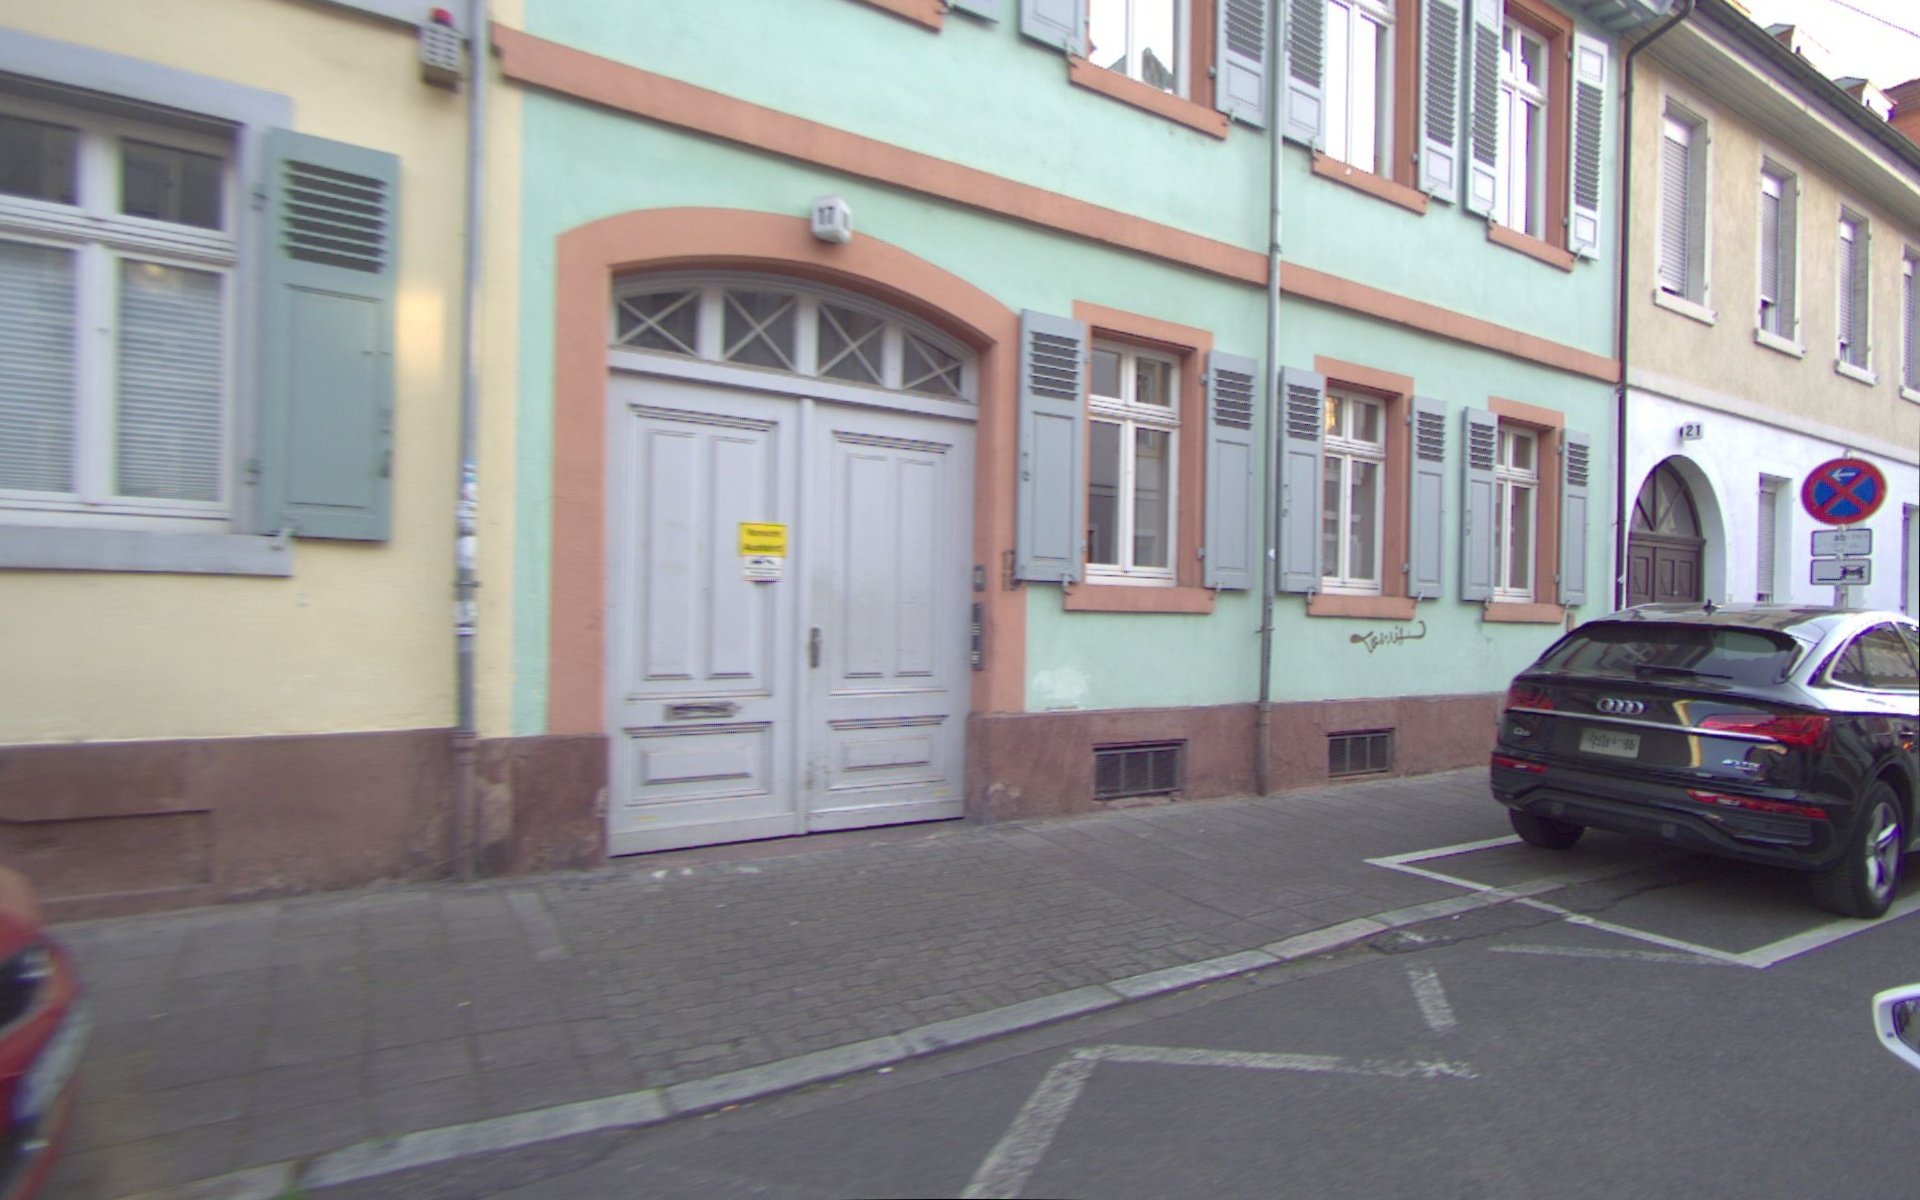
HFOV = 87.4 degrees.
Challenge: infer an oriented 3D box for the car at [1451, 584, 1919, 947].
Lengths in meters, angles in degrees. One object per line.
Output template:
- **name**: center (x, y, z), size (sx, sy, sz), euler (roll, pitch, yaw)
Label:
- **car**: center (5.423, 0.834, 6.612), size (4.437, 1.699, 1.794), euler (2, -1, -30)

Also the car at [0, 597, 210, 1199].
- **car**: center (-3.620, 0.661, 1.152), size (4.214, 1.420, 1.756), euler (2, 0, -31)
